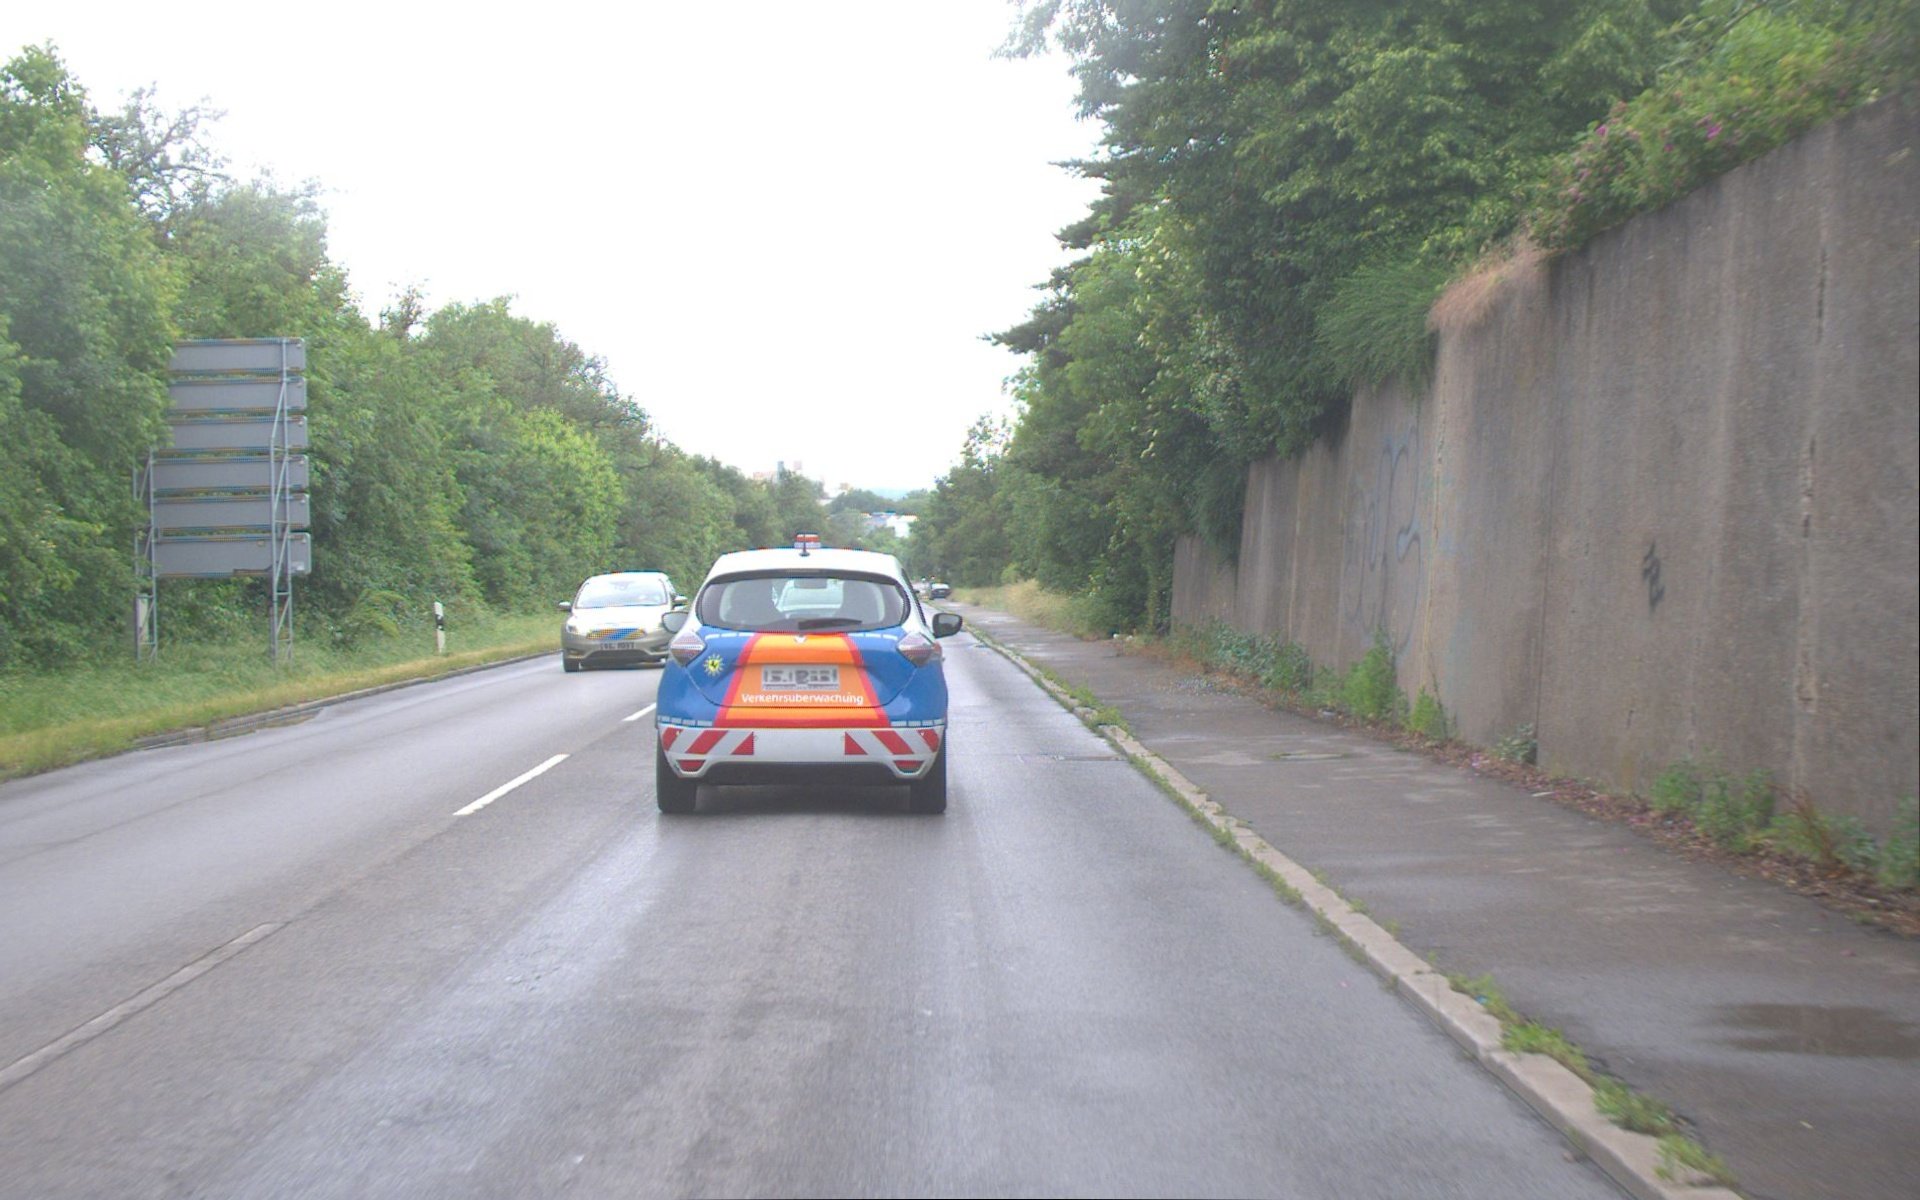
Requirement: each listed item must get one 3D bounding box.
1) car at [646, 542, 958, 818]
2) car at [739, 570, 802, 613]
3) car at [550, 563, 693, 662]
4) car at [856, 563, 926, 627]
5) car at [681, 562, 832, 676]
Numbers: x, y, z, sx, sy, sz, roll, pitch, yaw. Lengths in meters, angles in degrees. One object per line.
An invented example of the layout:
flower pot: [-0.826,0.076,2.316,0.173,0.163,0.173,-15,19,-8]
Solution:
car: [-0.932,0.426,21.396,1.752,1.550,3.793,1,1,-1]
car: [-6.028,-0.286,109.784,1.891,1.350,4.382,0,0,-2]
car: [-5.218,0.163,53.449,1.825,1.415,4.320,-1,1,-1]
car: [-1.903,-0.164,94.041,1.772,1.619,4.000,-2,1,-2]
car: [-2.401,0.219,41.273,1.598,1.282,3.476,-1,0,0]
